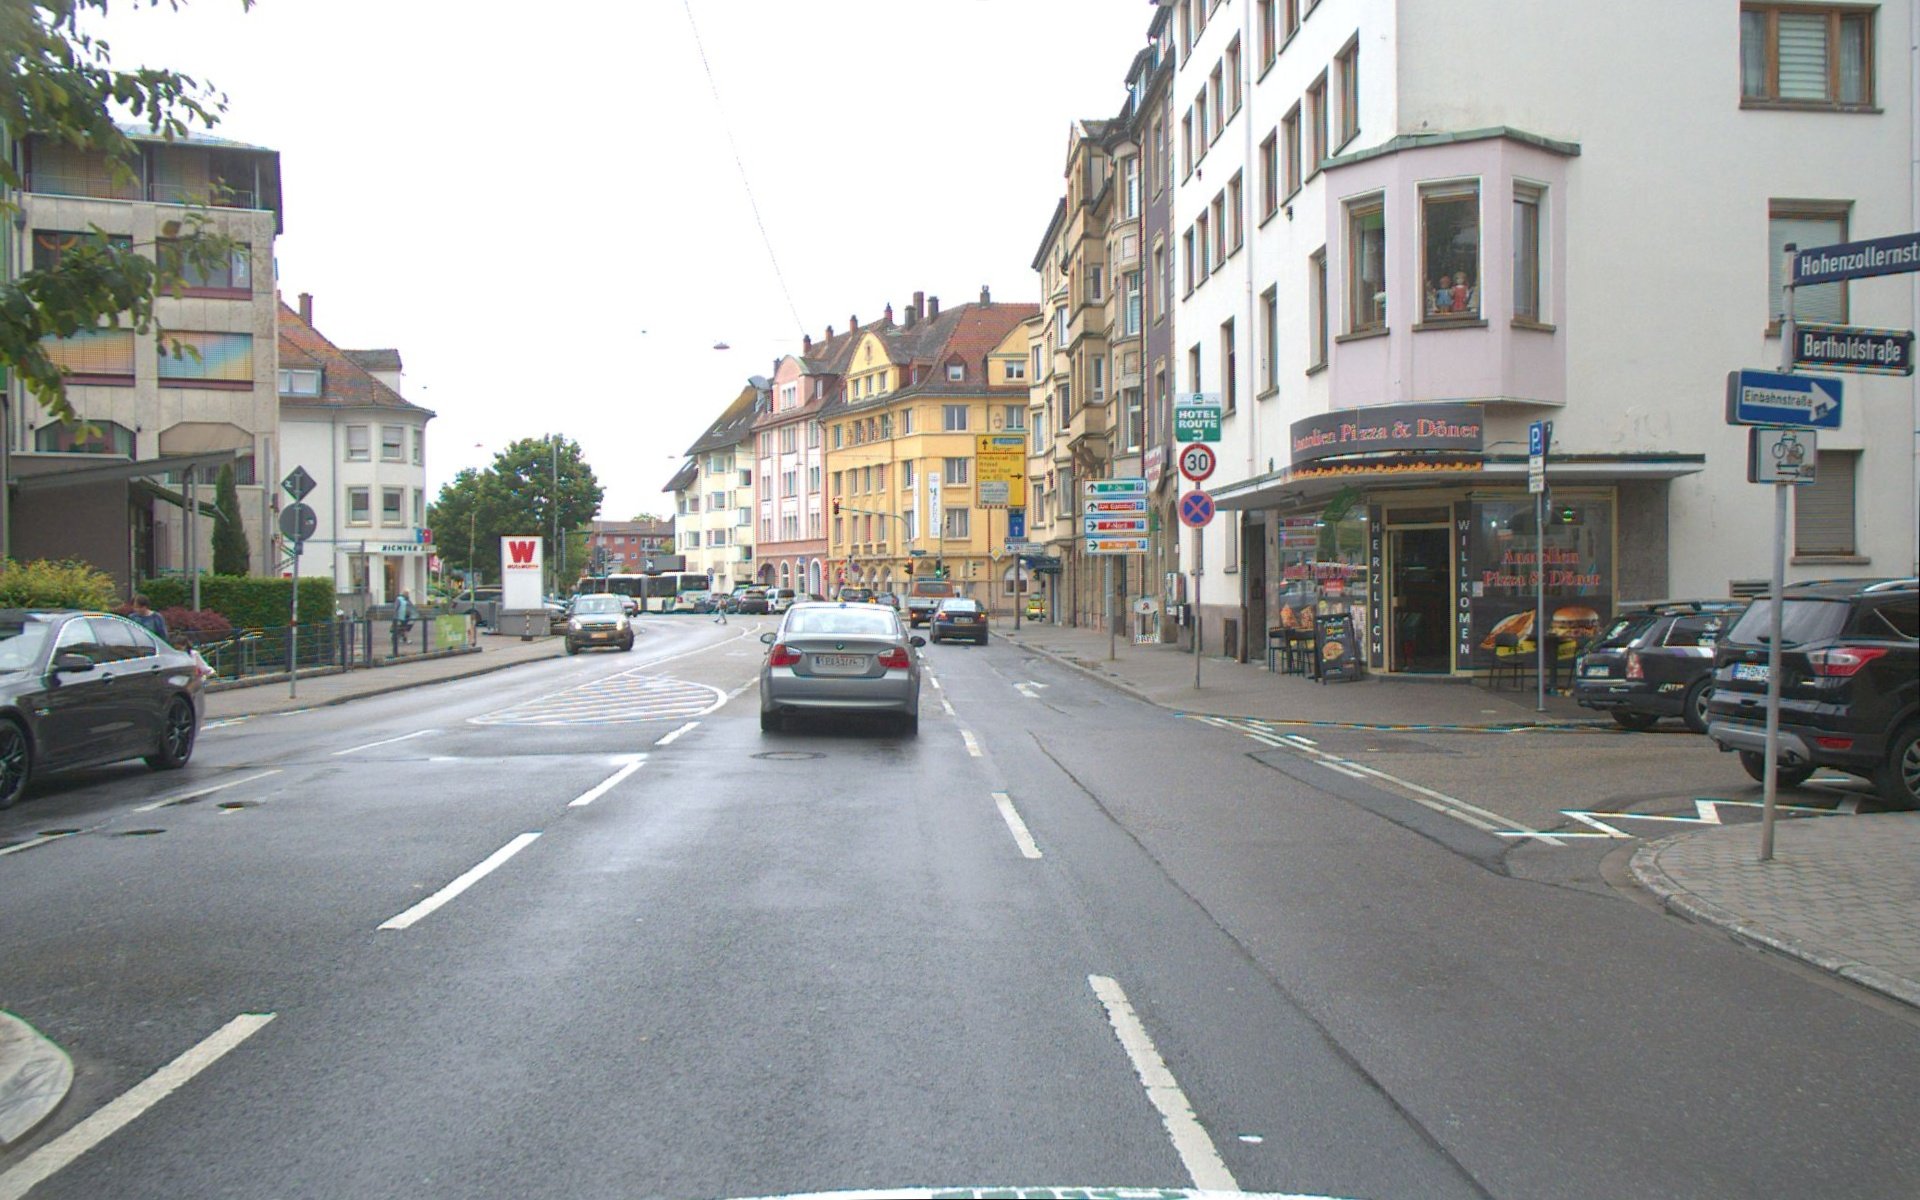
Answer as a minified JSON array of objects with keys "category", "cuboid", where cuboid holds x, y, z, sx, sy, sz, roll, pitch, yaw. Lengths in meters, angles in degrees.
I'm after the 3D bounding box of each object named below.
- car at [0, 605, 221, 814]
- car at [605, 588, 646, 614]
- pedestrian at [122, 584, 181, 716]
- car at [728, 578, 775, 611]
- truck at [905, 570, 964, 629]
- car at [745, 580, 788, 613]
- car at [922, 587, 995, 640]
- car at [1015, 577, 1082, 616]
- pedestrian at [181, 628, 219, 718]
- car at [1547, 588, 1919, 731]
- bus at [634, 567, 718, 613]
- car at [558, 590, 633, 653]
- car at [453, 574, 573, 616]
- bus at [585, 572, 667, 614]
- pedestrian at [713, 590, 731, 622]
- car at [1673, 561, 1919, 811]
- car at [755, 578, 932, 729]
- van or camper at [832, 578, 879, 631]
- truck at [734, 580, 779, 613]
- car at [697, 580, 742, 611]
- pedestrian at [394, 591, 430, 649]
[{"category":"car","cuboid":[-7.885,0.791,13.369,1.973,1.450,4.497,0,0,-3]},{"category":"car","cuboid":[-21.967,0.049,108.653,1.820,1.713,3.970,-1,1,-24]},{"category":"pedestrian","cuboid":[-11.119,0.675,22.755,0.563,1.793,0.580,0,0,-9]},{"category":"car","cuboid":[-13.315,-0.354,105.374,1.967,2.049,3.971,0,0,-24]},{"category":"truck","cuboid":[-1.074,-0.029,67.525,2.180,2.289,5.059,1,0,-3]},{"category":"car","cuboid":[-13.935,-0.268,118.879,1.742,2.218,3.963,3,0,-28]},{"category":"car","cuboid":[-0.081,0.414,51.156,1.765,1.590,3.993,0,-1,-7]},{"category":"car","cuboid":[4.799,-0.192,89.070,1.957,2.049,3.991,1,0,31]},{"category":"pedestrian","cuboid":[-10.496,1.001,22.844,0.401,1.219,0.310,0,0,-9]},{"category":"car","cuboid":[9.531,0.702,20.275,4.031,1.635,1.802,0,-1,-9]},{"category":"bus","cuboid":[-20.806,-0.727,120.675,2.881,3.159,9.043,-1,1,-32]},{"category":"car","cuboid":[-10.691,0.597,48.356,1.916,1.688,4.040,-2,1,-15]},{"category":"car","cuboid":[-17.715,-0.201,65.739,4.362,1.553,1.883,1,0,-8]},{"category":"bus","cuboid":[-25.933,-0.529,128.139,2.886,3.159,8.758,-1,1,-36]},{"category":"pedestrian","cuboid":[-11.612,0.297,80.730,0.750,1.556,0.505,2,-1,-24]},{"category":"car","cuboid":[8.077,0.617,13.175,4.061,1.803,1.869,0,0,-9]},{"category":"car","cuboid":[-1.333,0.579,19.059,1.764,1.490,4.367,2,-1,-4]},{"category":"van or camper","cuboid":[-4.490,0.156,70.703,1.819,2.184,4.137,0,0,-6]},{"category":"truck","cuboid":[-15.349,-0.308,124.835,2.003,2.431,4.198,1,0,-28]},{"category":"car","cuboid":[-16.156,-0.289,111.046,1.967,2.049,3.970,0,0,-24]},{"category":"pedestrian","cuboid":[-16.483,0.583,49.781,0.741,1.715,0.743,0,0,42]}]
